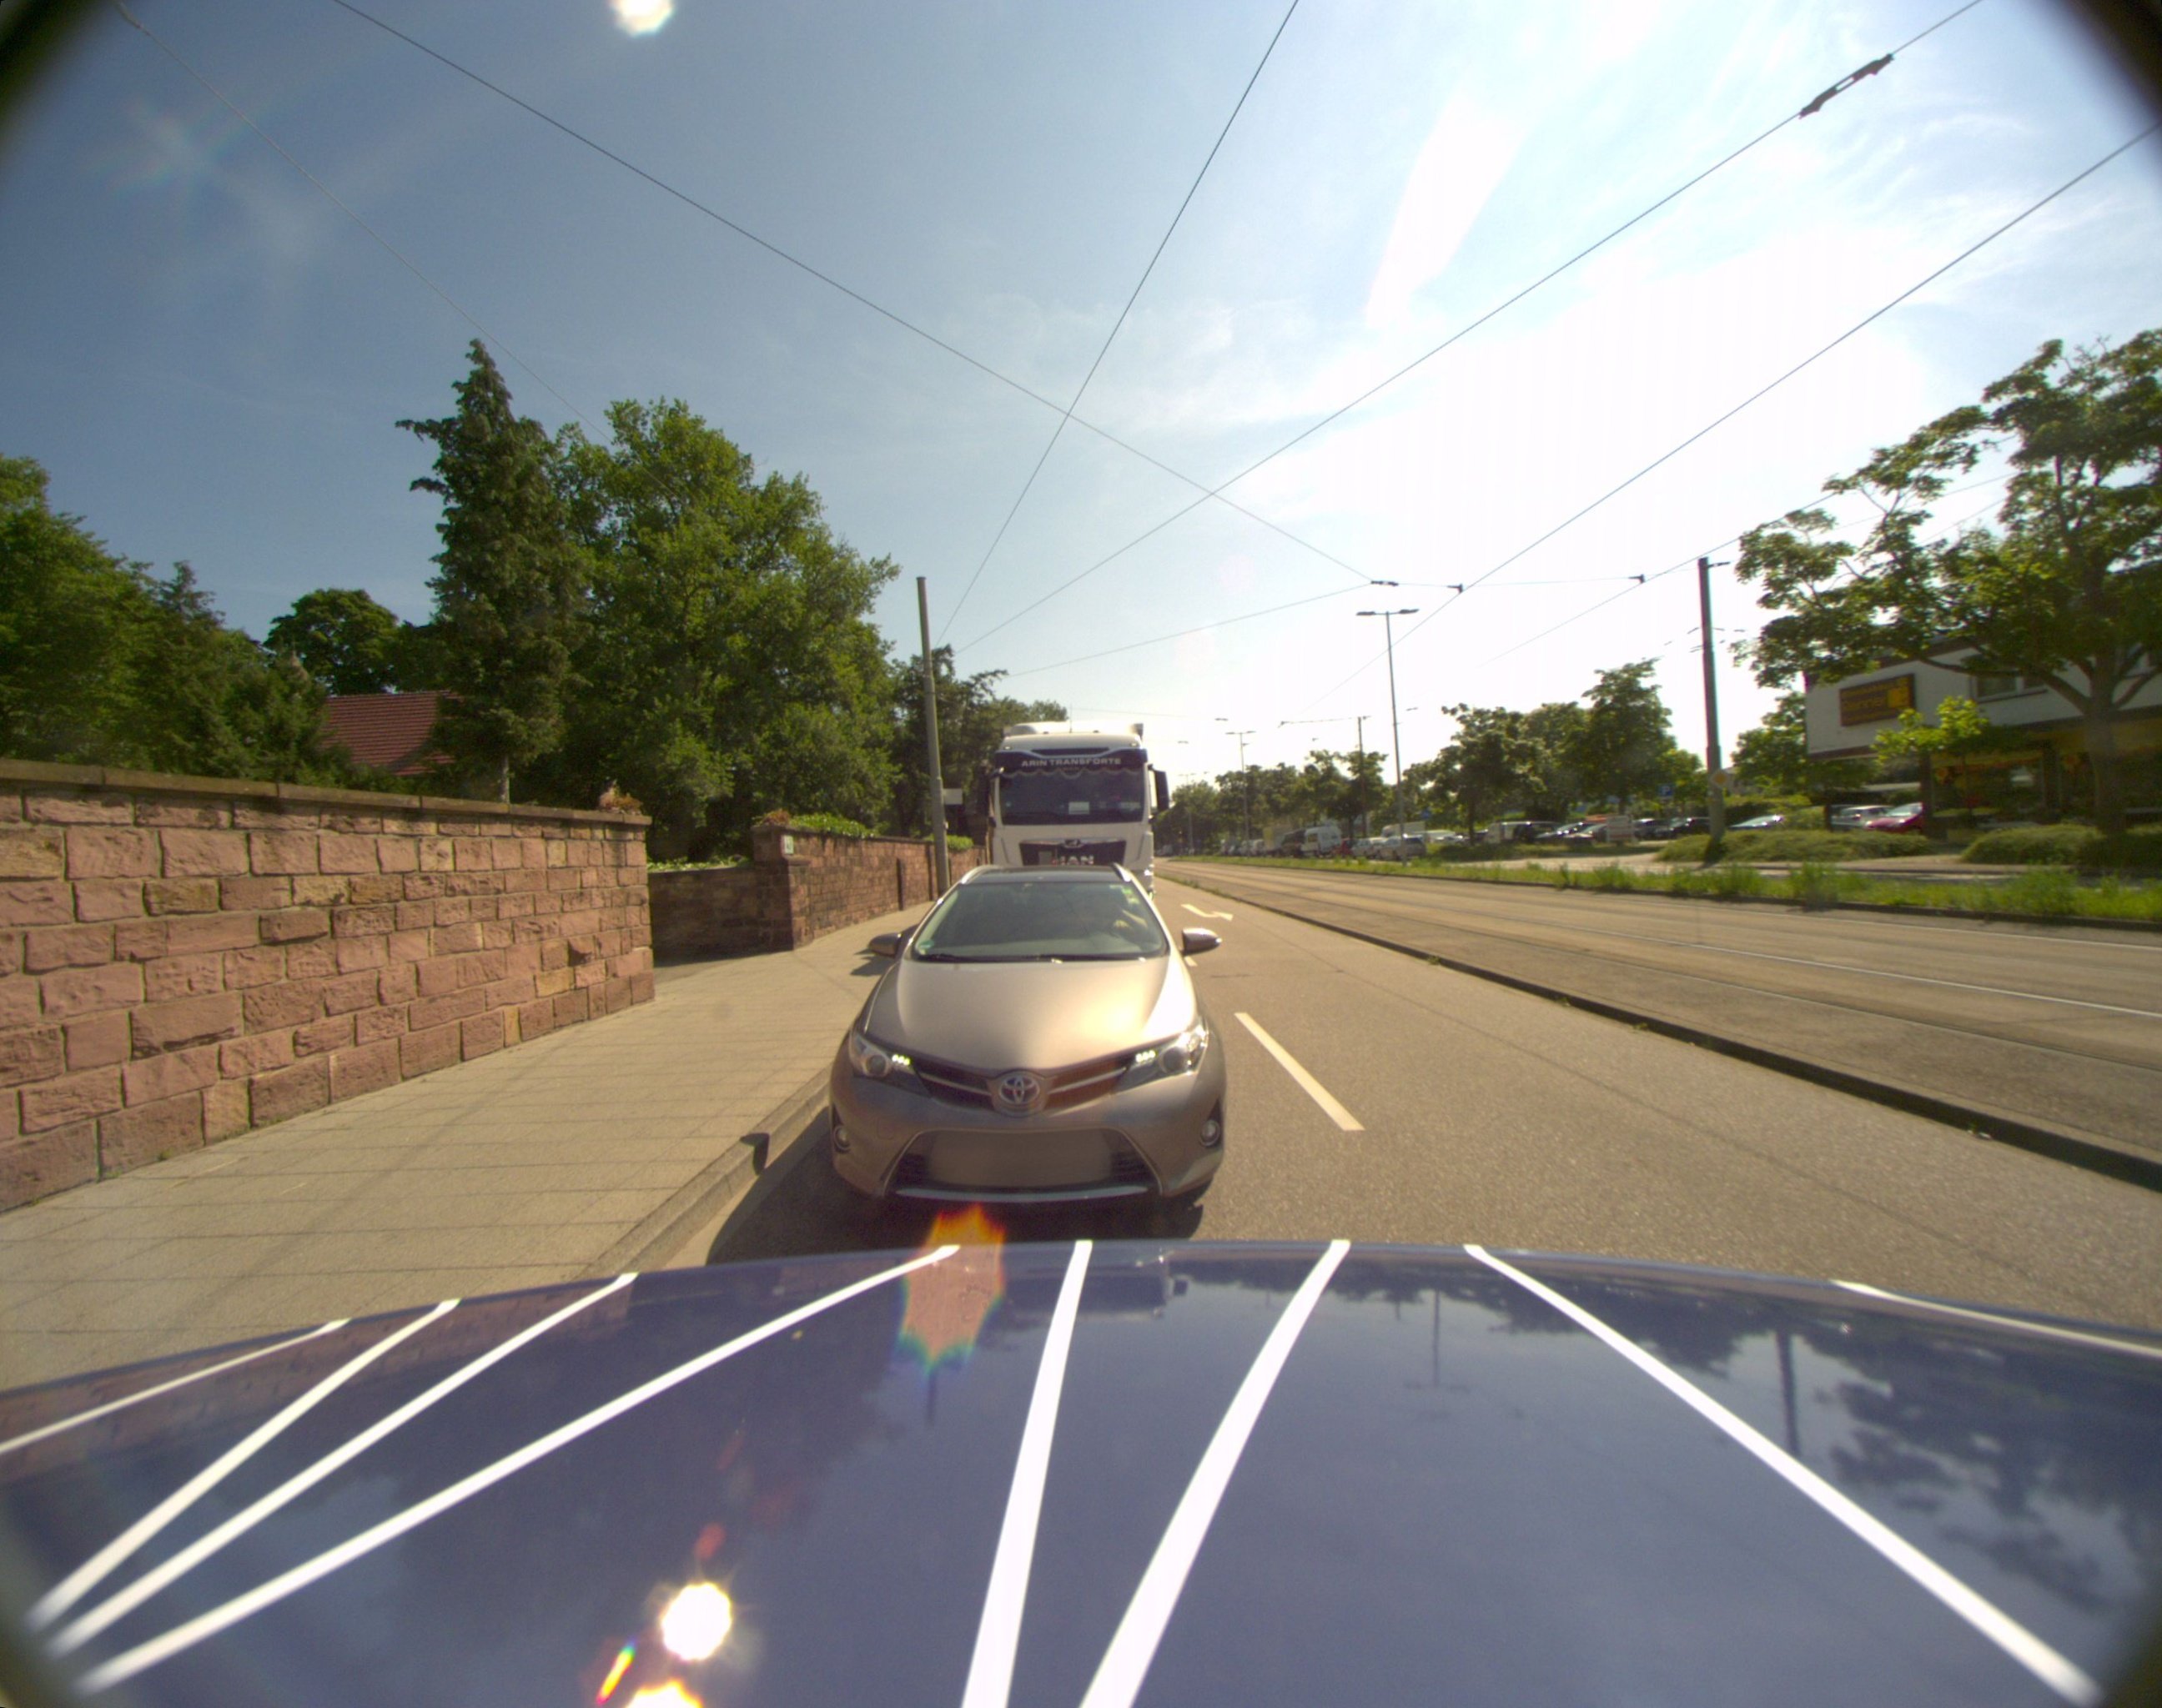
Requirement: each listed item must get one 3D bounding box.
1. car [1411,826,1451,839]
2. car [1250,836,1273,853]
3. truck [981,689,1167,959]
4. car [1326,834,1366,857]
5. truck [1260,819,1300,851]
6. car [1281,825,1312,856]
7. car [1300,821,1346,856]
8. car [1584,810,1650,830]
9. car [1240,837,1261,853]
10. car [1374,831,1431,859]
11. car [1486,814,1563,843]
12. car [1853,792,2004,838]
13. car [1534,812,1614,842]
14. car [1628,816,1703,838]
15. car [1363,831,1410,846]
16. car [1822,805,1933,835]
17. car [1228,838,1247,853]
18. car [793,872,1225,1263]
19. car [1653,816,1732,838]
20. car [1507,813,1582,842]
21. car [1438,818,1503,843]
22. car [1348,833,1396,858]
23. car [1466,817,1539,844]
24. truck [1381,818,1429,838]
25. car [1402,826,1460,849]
[{"bbox_3d":[43.739,-2.628,95.033,4.253,1.327,1.676,-3,0,1],"label":"car"},{"bbox_3d":[20.700,-1.059,87.357,1.502,1.793,4.633,-6,0,1],"label":"car"},{"bbox_3d":[-0.005,-0.491,15.828,2.628,3.906,9.285,-2,1,1],"label":"truck"},{"bbox_3d":[20.478,-0.672,58.751,1.675,1.524,3.793,-6,0,1],"label":"car"},{"bbox_3d":[20.591,-1.902,78.854,2.508,2.917,5.903,-6,0,2],"label":"truck"},{"bbox_3d":[19.935,-1.220,70.408,1.502,2.609,4.007,-6,0,1],"label":"car"},{"bbox_3d":[20.282,-1.257,63.985,2.062,2.638,5.203,-6,0,1],"label":"car"},{"bbox_3d":[44.068,-2.820,62.510,4.254,1.327,1.676,-3,0,-1],"label":"car"},{"bbox_3d":[20.974,-1.130,94.216,1.502,1.835,4.059,-6,0,0],"label":"car"},{"bbox_3d":[20.278,-0.551,48.124,1.675,1.524,4.256,-6,0,1],"label":"car"},{"bbox_3d":[30.695,-1.774,52.663,4.117,1.728,1.990,-3,1,-2],"label":"car"},{"bbox_3d":[35.262,-1.584,31.677,4.252,1.595,1.676,-3,1,2],"label":"car"},{"bbox_3d":[30.512,-1.651,47.110,3.810,1.625,1.676,-3,1,2],"label":"car"},{"bbox_3d":[44.097,-2.025,57.377,4.252,1.327,1.676,-3,0,2],"label":"car"},{"bbox_3d":[32.320,-1.598,80.392,4.253,1.327,1.676,-3,0,1],"label":"car"},{"bbox_3d":[44.172,-1.885,42.179,4.252,1.327,1.676,-3,0,2],"label":"car"},{"bbox_3d":[20.627,-1.094,100.068,1.502,1.775,3.687,-6,0,0],"label":"car"},{"bbox_3d":[-0.262,0.893,4.993,1.654,1.374,4.000,-2,0,1],"label":"car"},{"bbox_3d":[44.043,-1.937,54.792,4.252,1.327,1.676,-3,0,2],"label":"car"},{"bbox_3d":[30.582,-1.719,50.196,3.810,1.625,1.676,-3,1,2],"label":"car"},{"bbox_3d":[31.235,-1.849,60.972,4.117,1.728,1.990,-3,1,-2],"label":"car"},{"bbox_3d":[20.448,-0.618,53.613,1.675,1.524,4.256,-6,0,1],"label":"car"},{"bbox_3d":[30.536,-1.687,55.134,4.117,1.728,1.990,-3,1,-2],"label":"car"},{"bbox_3d":[44.830,-3.631,105.185,5.652,2.367,1.990,-3,1,-2],"label":"truck"},{"bbox_3d":[31.172,-1.405,67.875,2.594,1.800,5.741,-3,0,2],"label":"car"}]
